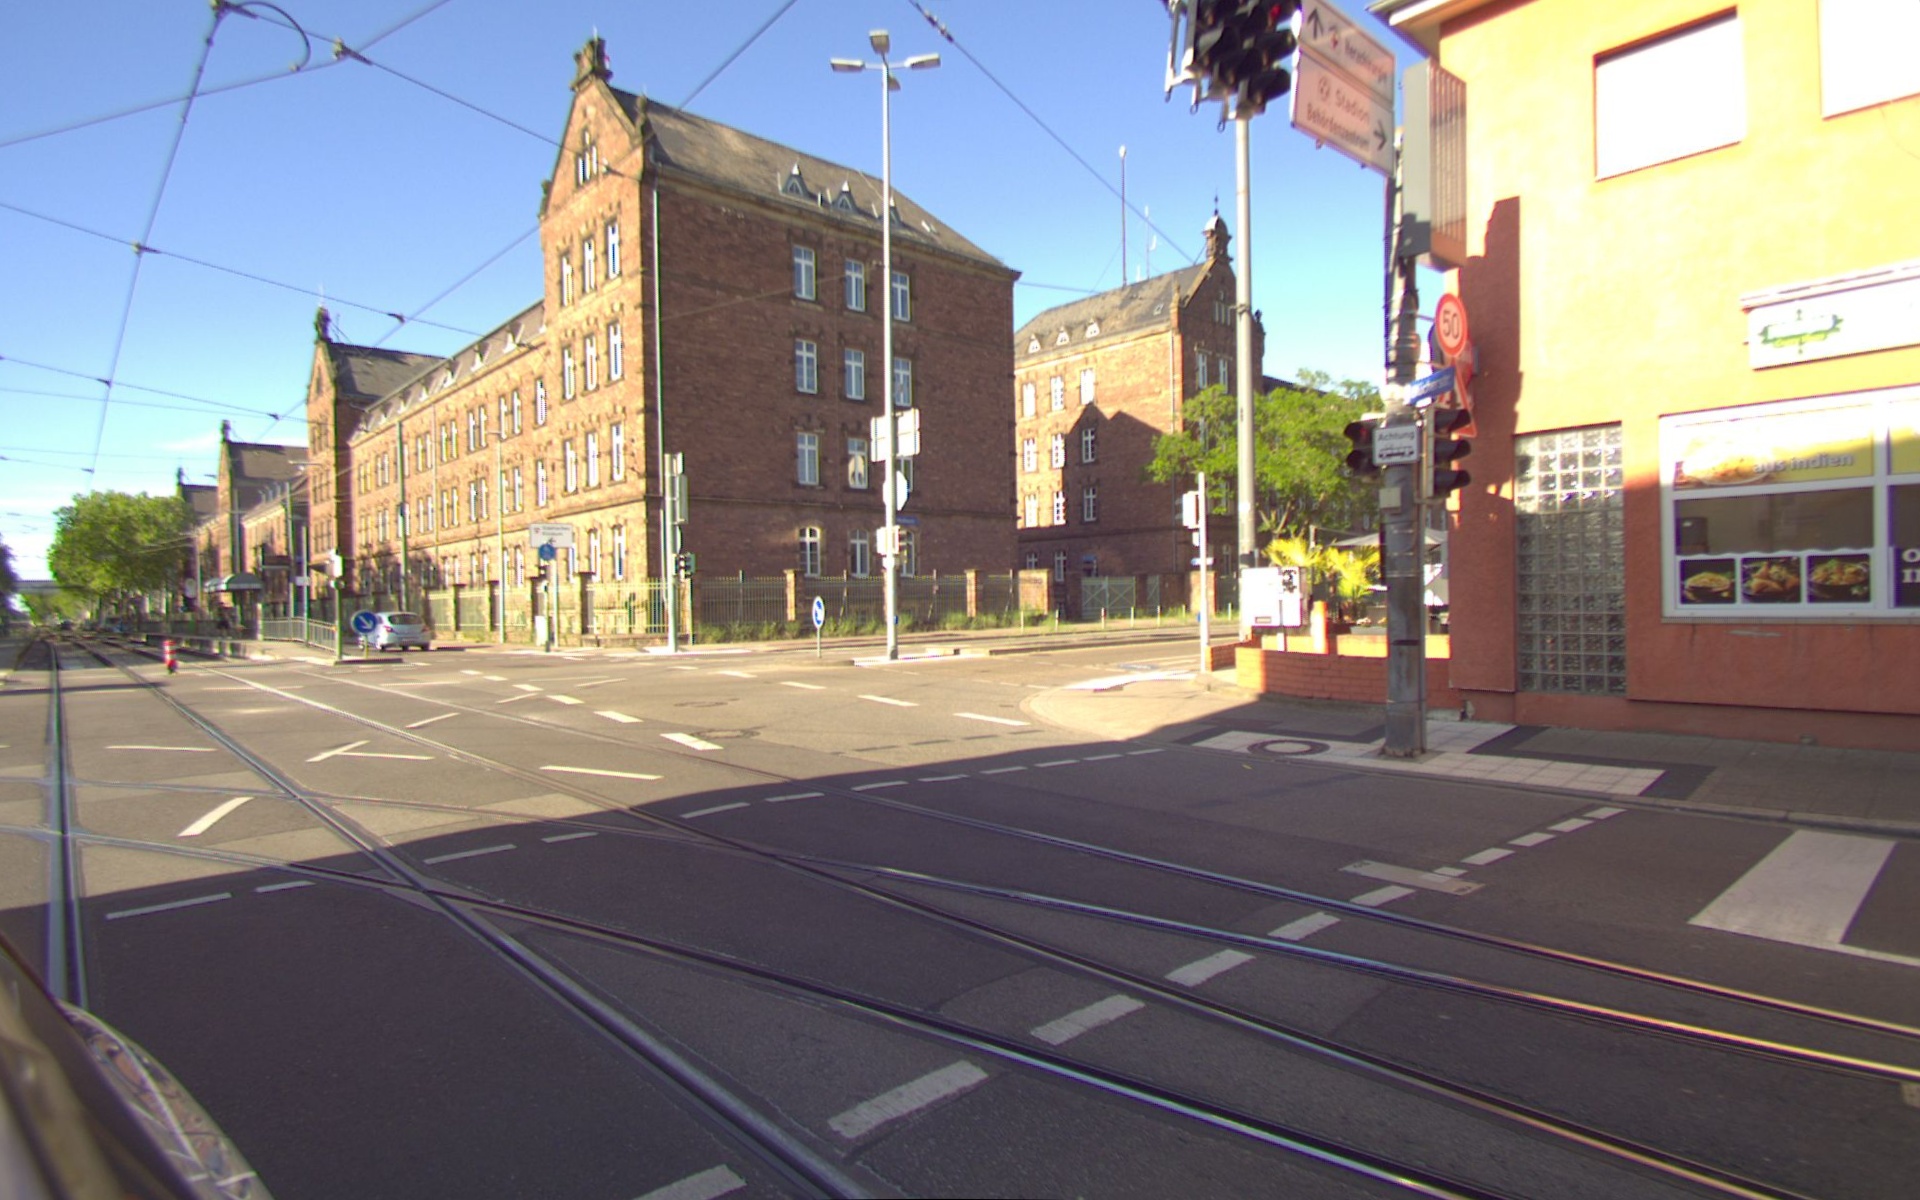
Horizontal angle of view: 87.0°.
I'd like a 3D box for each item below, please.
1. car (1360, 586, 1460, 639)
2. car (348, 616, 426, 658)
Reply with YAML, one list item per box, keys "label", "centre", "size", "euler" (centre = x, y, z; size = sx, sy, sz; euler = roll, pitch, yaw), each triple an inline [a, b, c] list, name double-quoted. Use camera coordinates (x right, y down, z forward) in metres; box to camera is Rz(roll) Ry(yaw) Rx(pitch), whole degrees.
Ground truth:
- label: "car"
  centre: [16.419, 0.410, 36.852]
  size: [1.970, 1.677, 4.188]
  euler: [3, 4, 45]
- label: "car"
  centre: [-21.421, 1.359, 37.756]
  size: [1.715, 1.454, 4.121]
  euler: [-1, -1, -41]
